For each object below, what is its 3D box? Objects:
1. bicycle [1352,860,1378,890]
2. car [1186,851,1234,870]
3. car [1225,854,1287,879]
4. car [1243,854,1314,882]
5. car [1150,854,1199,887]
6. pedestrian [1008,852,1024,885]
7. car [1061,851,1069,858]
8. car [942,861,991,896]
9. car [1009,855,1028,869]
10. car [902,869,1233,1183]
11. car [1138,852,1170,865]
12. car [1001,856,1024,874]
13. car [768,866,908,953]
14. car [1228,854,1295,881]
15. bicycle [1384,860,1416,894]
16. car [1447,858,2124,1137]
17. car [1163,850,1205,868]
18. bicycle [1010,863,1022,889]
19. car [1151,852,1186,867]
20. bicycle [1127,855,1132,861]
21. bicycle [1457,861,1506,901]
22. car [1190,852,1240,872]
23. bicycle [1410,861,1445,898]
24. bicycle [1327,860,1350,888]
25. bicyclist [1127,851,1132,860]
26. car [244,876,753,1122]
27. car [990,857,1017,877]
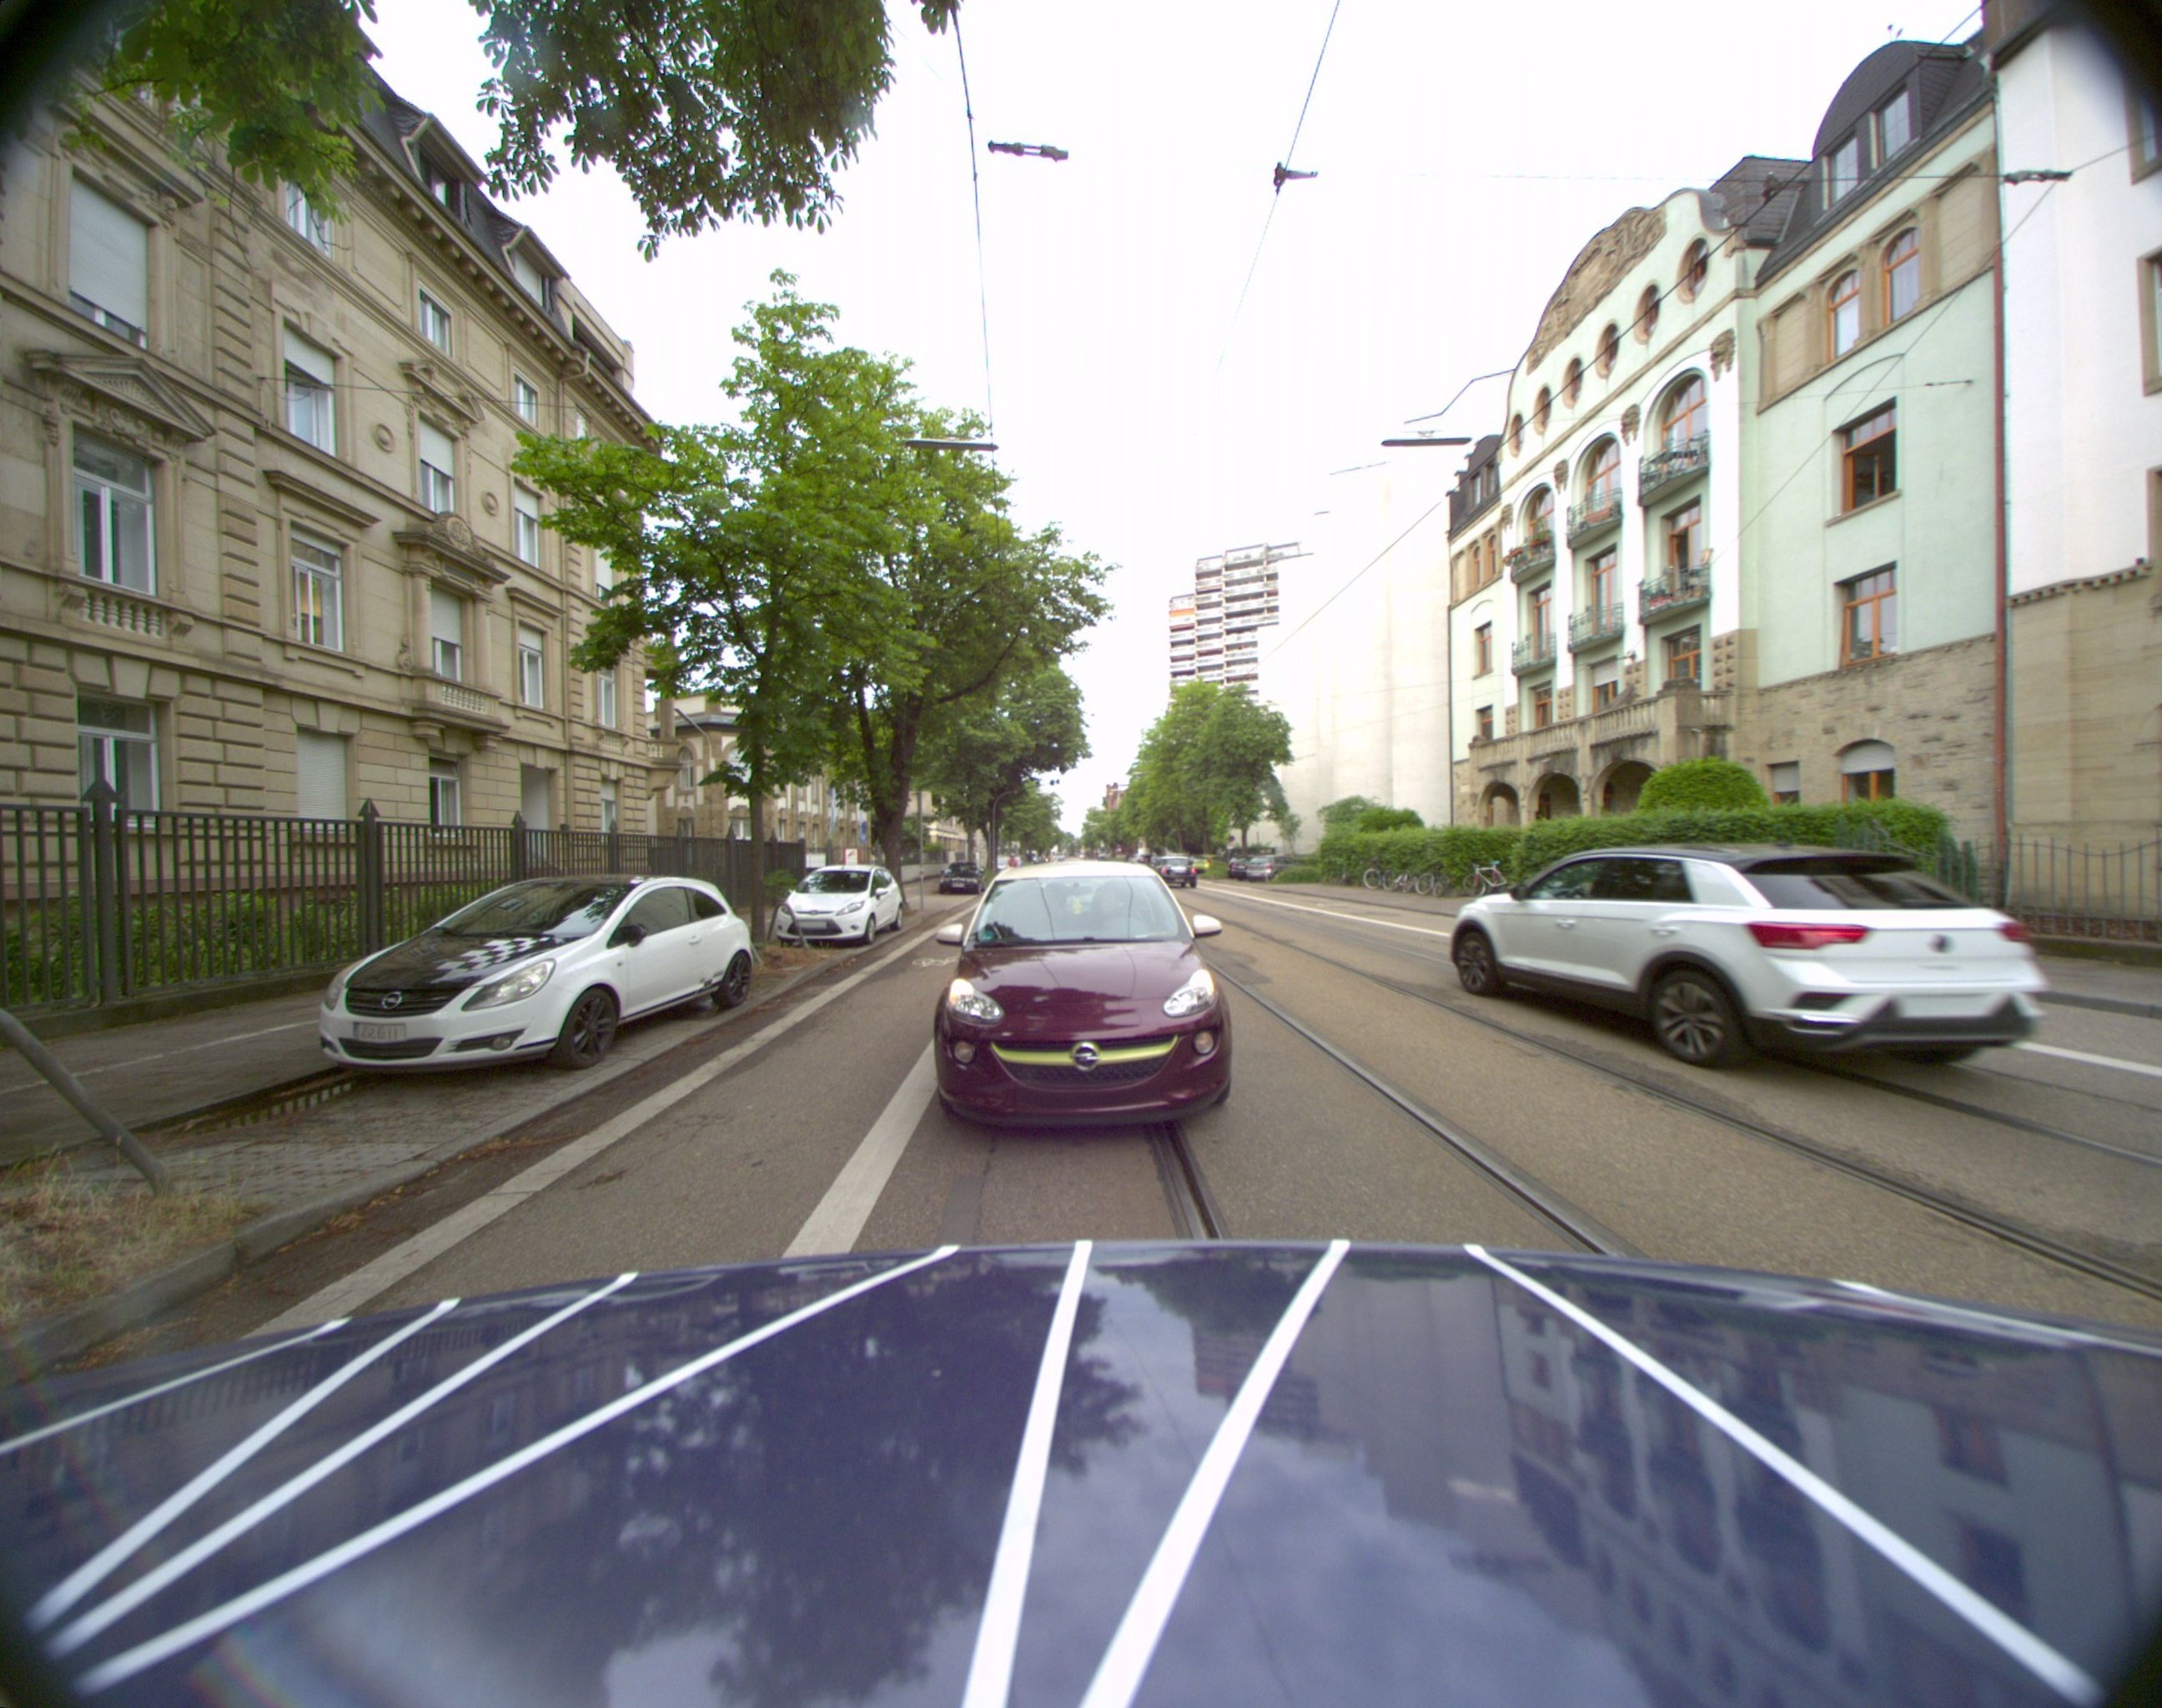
[{"bbox_3d":[10.591,0.774,28.382,0.360,1.077,1.546,-1,0,-1],"label":"bicycle"},{"bbox_3d":[10.190,0.521,59.741,4.008,1.434,1.690,-1,1,-45],"label":"car"},{"bbox_3d":[10.747,0.745,46.532,4.008,1.395,1.690,-1,0,-41],"label":"car"},{"bbox_3d":[10.589,0.725,40.527,4.008,1.395,1.690,-1,0,-41],"label":"car"},{"bbox_3d":[4.212,0.716,34.712,1.613,1.414,3.485,0,0,-4],"label":"car"},{"bbox_3d":[-3.093,0.669,36.021,0.684,1.541,0.704,-1,1,-1],"label":"pedestrian"},{"bbox_3d":[-4.755,0.117,222.538,1.998,2.002,4.000,-2,1,1],"label":"car"},{"bbox_3d":[-5.019,1.051,33.645,1.606,1.362,3.836,1,0,-1],"label":"car"},{"bbox_3d":[-6.257,0.771,75.846,1.606,1.362,3.836,1,0,-1],"label":"car"},{"bbox_3d":[-0.071,0.899,5.694,1.606,1.427,3.776,-2,0,0],"label":"car"},{"bbox_3d":[8.949,0.523,92.690,4.008,1.611,1.690,-1,1,-45],"label":"car"},{"bbox_3d":[-5.727,0.927,63.428,1.606,1.416,3.836,1,0,-1],"label":"car"},{"bbox_3d":[-4.654,0.999,15.101,1.631,1.427,3.764,1,0,-1],"label":"car"},{"bbox_3d":[10.334,0.747,43.355,4.008,1.395,1.690,-1,0,-41],"label":"car"},{"bbox_3d":[10.638,0.755,25.367,0.360,1.077,1.546,-1,0,-1],"label":"bicycle"},{"bbox_3d":[4.845,0.799,6.151,1.703,1.487,3.929,0,0,-3],"label":"car"},{"bbox_3d":[9.411,0.445,69.448,4.008,1.611,1.690,-1,1,-45],"label":"car"},{"bbox_3d":[-3.093,1.033,36.286,0.414,1.197,1.706,-1,0,-1],"label":"bicycle"},{"bbox_3d":[9.582,0.567,82.871,4.008,1.611,1.690,-1,1,-45],"label":"car"},{"bbox_3d":[7.459,0.594,116.737,0.568,0.784,1.890,-1,0,-2],"label":"bicycle"},{"bbox_3d":[11.649,0.782,22.095,1.205,1.077,0.300,-3,1,0],"label":"bicycle"},{"bbox_3d":[10.038,0.567,56.688,4.008,1.387,1.690,-1,1,-45],"label":"car"},{"bbox_3d":[10.685,0.774,23.464,0.360,1.077,1.546,-1,0,-1],"label":"bicycle"},{"bbox_3d":[10.470,0.799,30.946,0.360,1.077,1.546,-1,0,-1],"label":"bicycle"},{"bbox_3d":[7.460,0.237,116.865,0.752,1.247,0.875,-1,1,-1],"label":"bicyclist"},{"bbox_3d":[-4.537,0.984,6.740,1.606,1.427,3.776,1,0,0],"label":"car"},{"bbox_3d":[-5.678,0.942,56.086,1.606,1.362,3.836,1,0,-1],"label":"car"}]
